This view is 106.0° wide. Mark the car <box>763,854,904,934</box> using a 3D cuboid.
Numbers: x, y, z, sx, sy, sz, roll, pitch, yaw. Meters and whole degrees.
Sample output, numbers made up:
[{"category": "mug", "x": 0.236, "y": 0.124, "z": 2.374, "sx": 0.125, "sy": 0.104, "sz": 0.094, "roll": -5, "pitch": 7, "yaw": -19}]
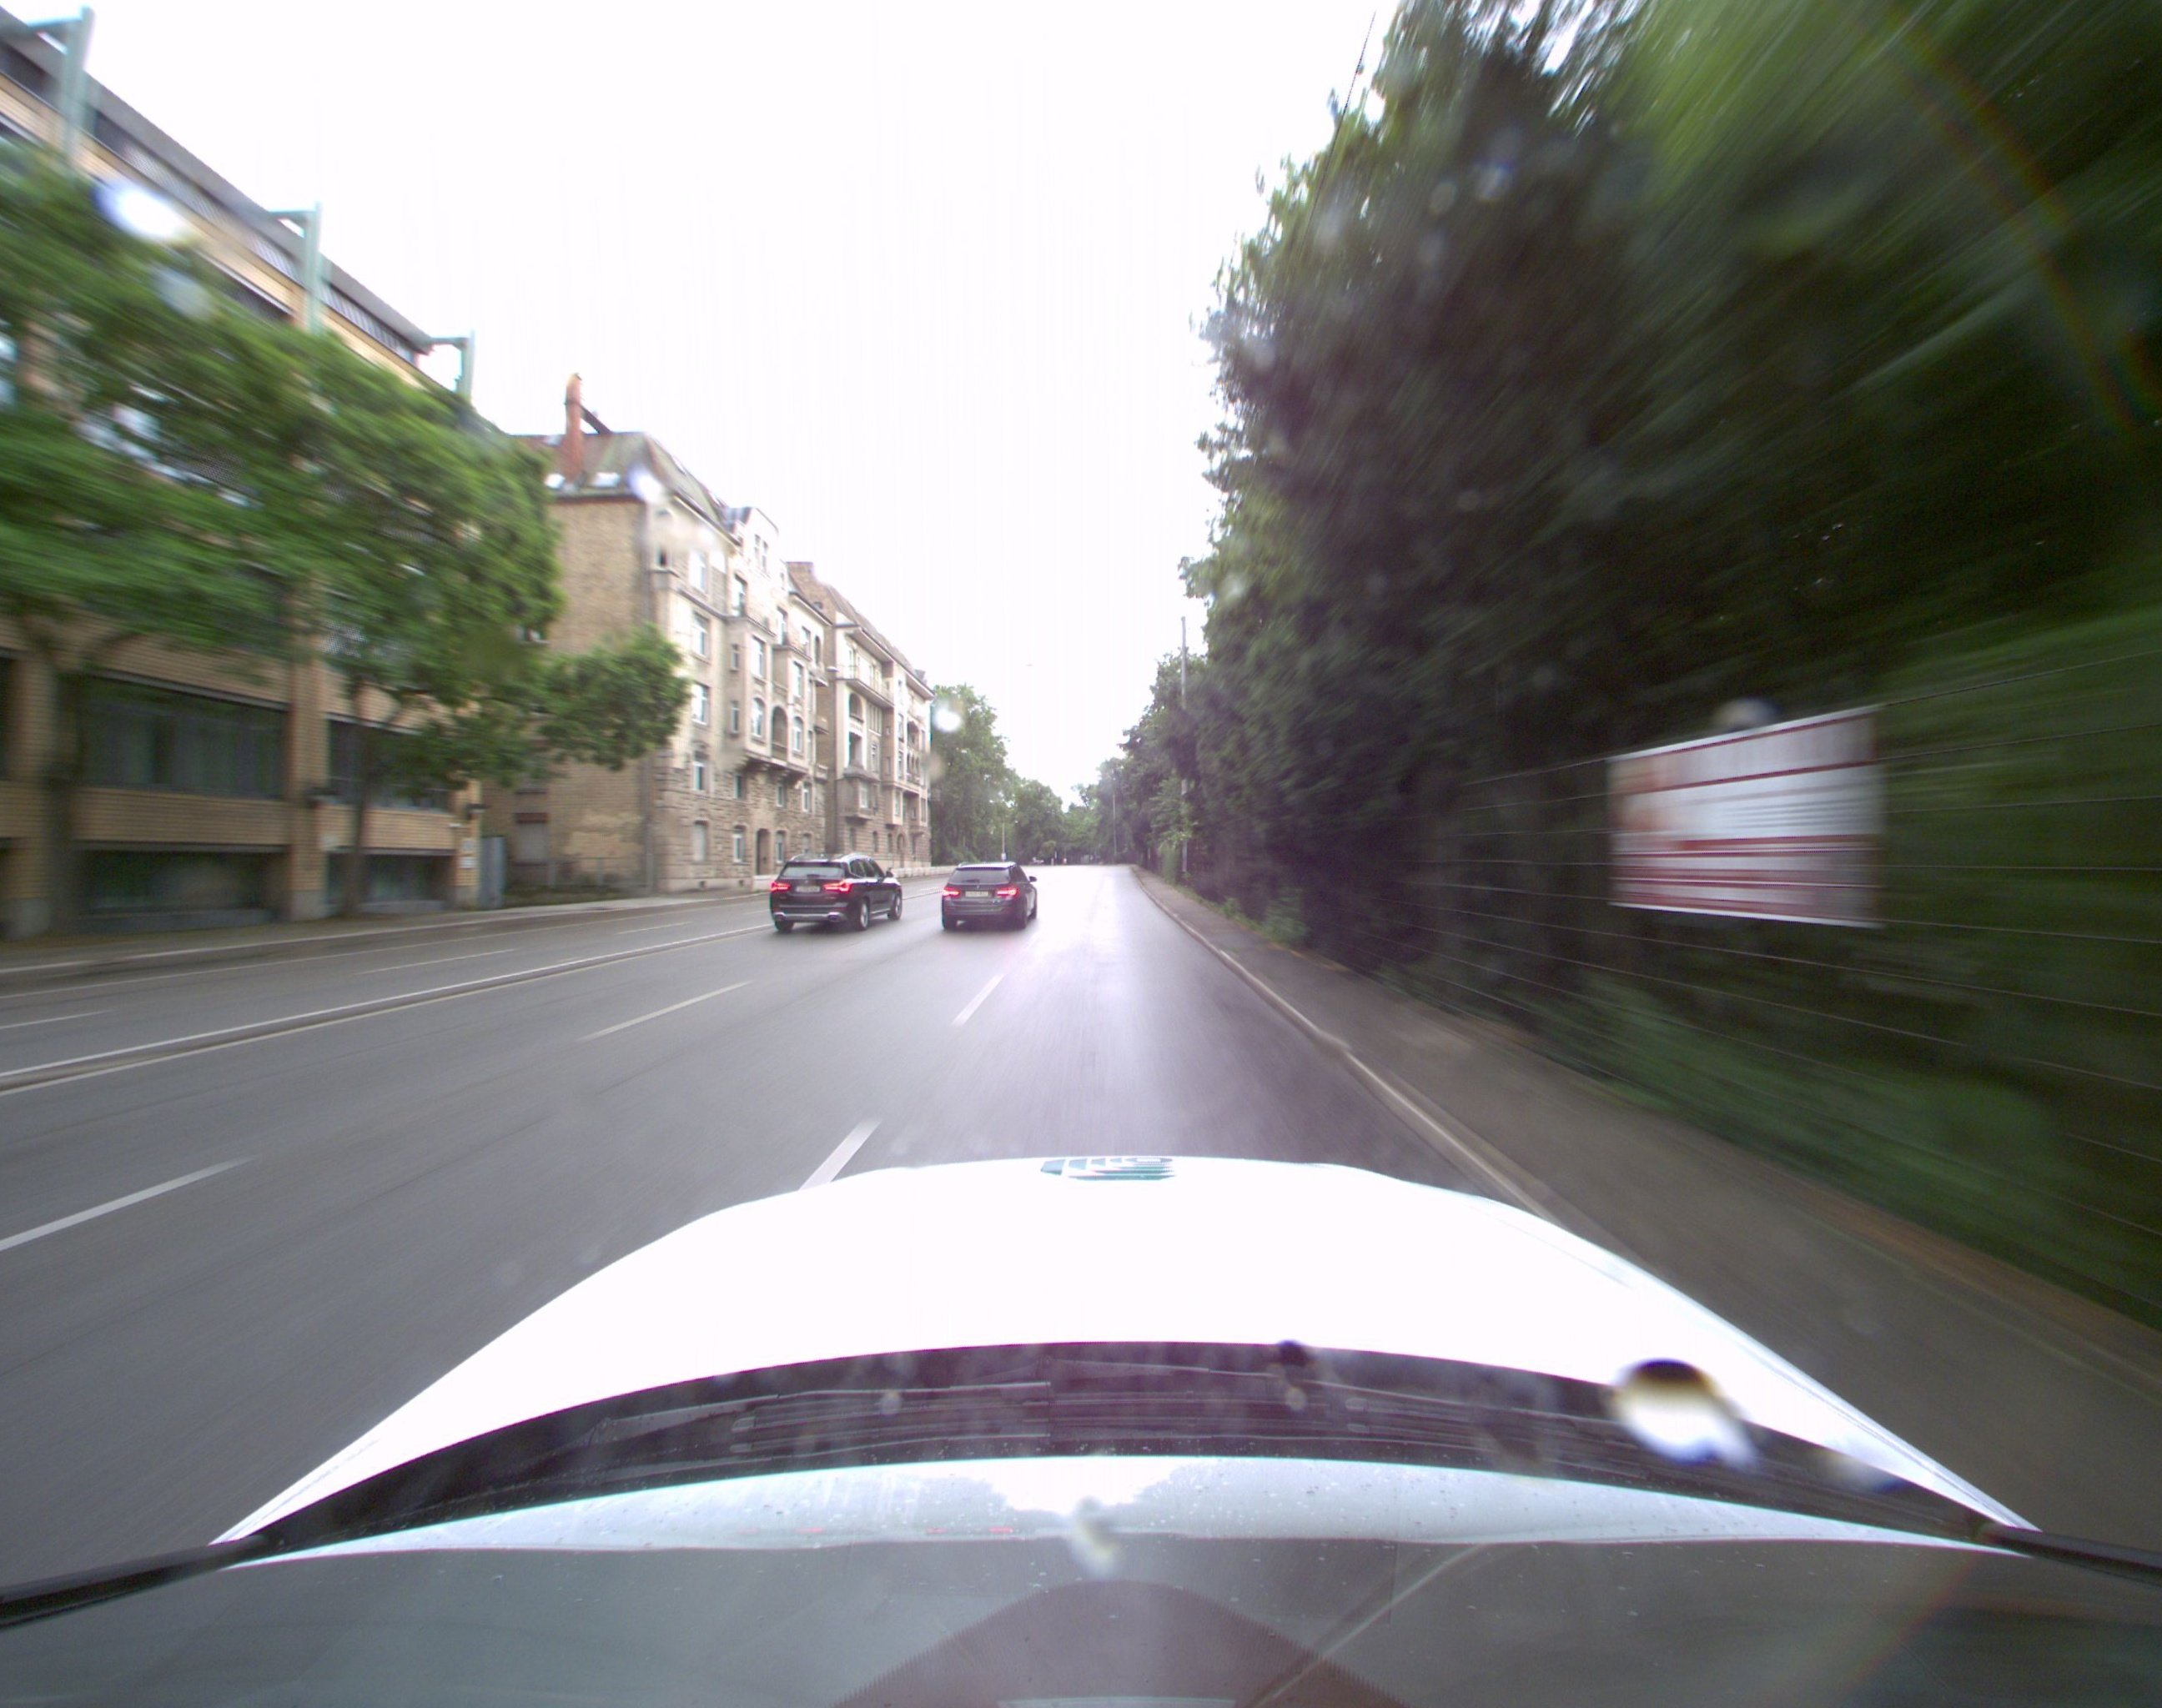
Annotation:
[{"category": "car", "x": -5.439, "y": 0.812, "z": 18.549, "sx": 1.751, "sy": 1.586, "sz": 4.414, "roll": 0, "pitch": 0, "yaw": 2}]

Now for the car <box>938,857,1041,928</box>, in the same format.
[{"category": "car", "x": -1.989, "y": 0.804, "z": 18.882, "sx": 1.751, "sy": 1.432, "sz": 4.414, "roll": 1, "pitch": 0, "yaw": 2}]

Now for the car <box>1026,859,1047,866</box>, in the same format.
[{"category": "car", "x": -9.142, "y": 1.726, "z": 166.660, "sx": 1.702, "sy": 1.427, "sz": 4.317, "roll": 4, "pitch": -4, "yaw": -44}]
